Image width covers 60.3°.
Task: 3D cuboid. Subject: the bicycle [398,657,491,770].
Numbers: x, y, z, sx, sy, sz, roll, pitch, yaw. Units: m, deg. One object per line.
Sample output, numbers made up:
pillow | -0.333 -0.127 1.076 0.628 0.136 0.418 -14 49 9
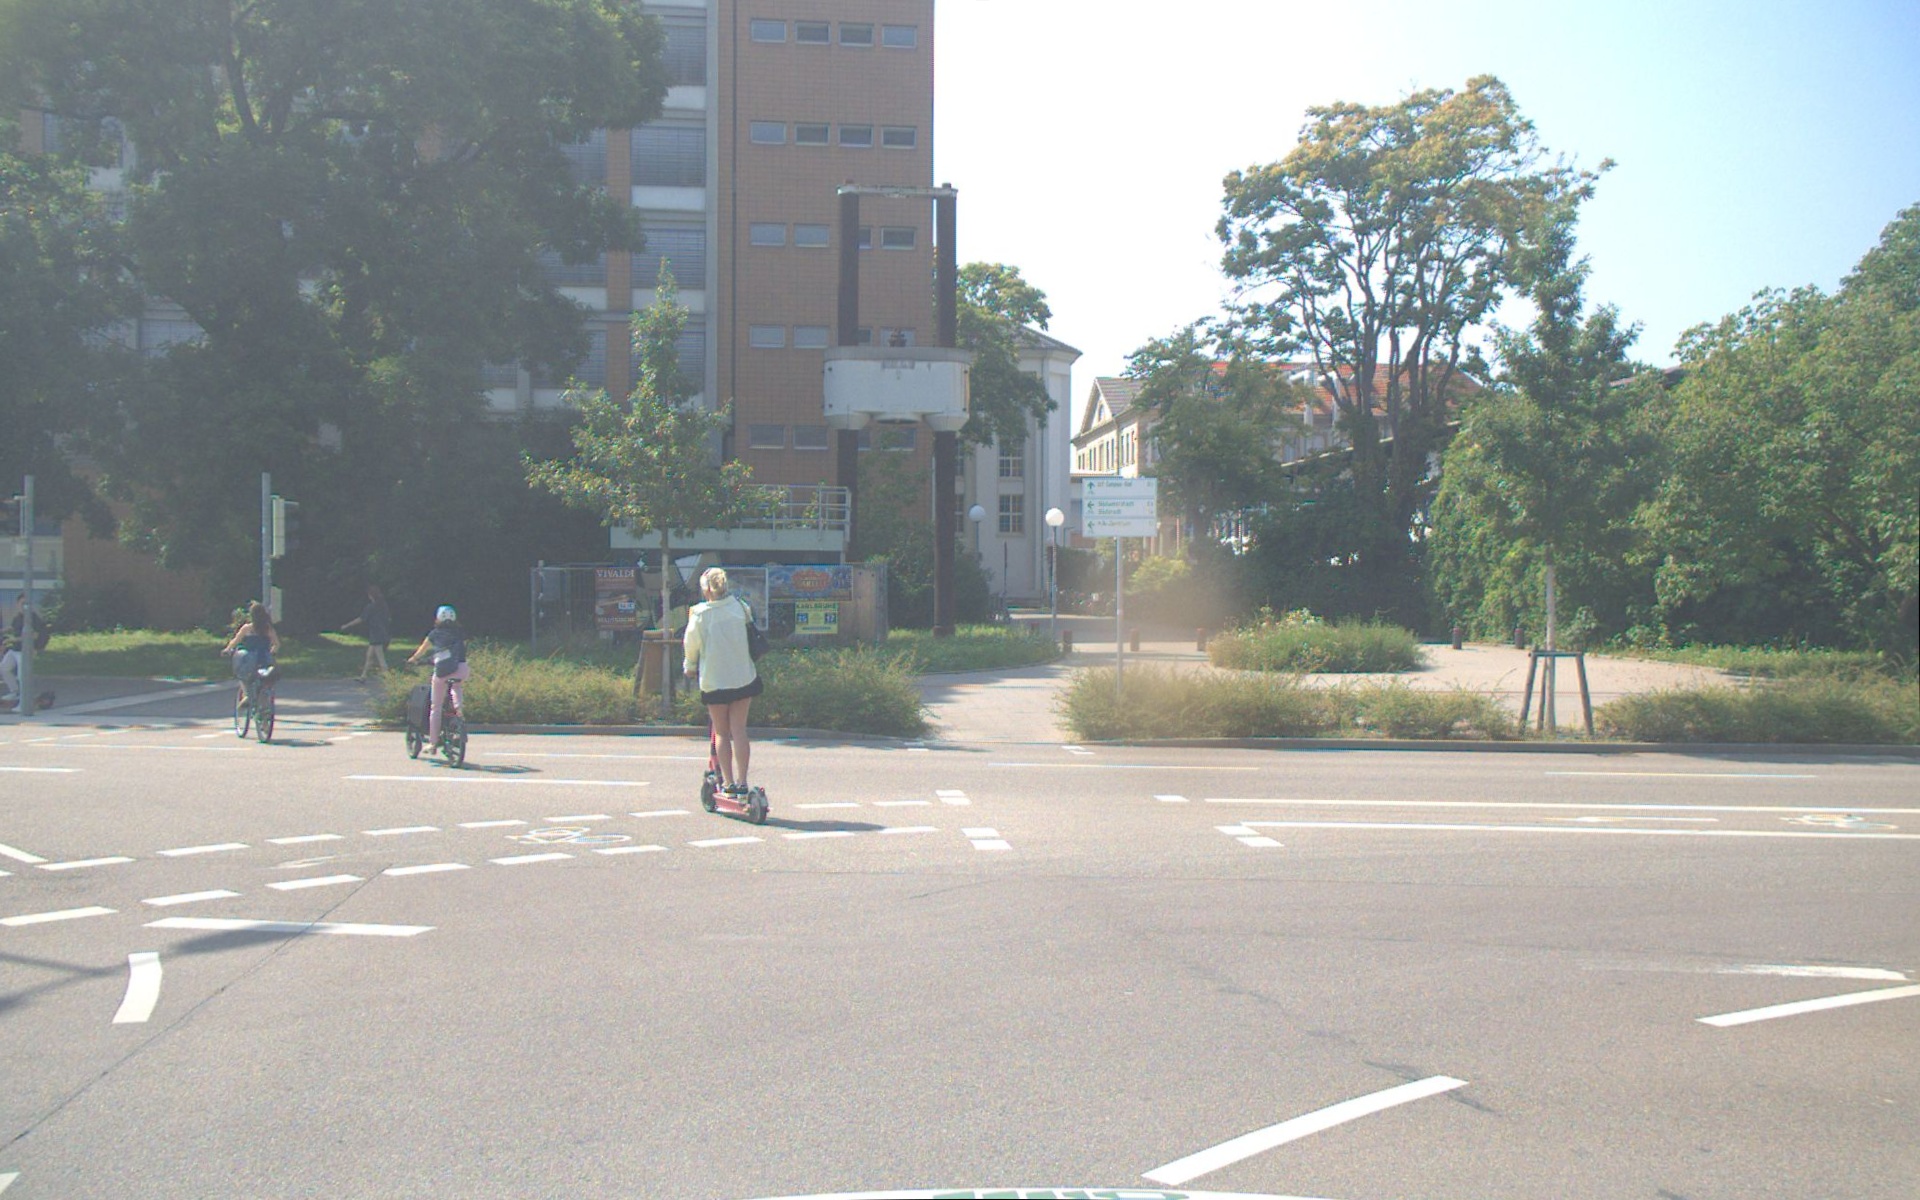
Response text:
bicycle | -5.516 1.176 17.626 0.550 1.078 1.984 1 -1 -29

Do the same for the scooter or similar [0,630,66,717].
scooter or similar | -14.409 1.114 25.096 0.573 1.256 1.363 0 1 35

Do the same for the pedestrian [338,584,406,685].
pedestrian | -10.331 0.590 29.065 0.857 1.734 0.708 0 2 12

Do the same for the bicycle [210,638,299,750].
bicycle | -8.820 1.129 20.626 0.687 1.175 2.346 -2 2 -31

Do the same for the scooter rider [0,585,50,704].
scooter rider | -14.377 0.656 25.052 0.675 1.769 0.802 0 1 35

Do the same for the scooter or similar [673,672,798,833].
scooter or similar | -1.760 1.122 12.712 0.548 1.078 1.992 0 -1 -20

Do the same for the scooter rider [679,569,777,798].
scooter rider | -1.803 0.634 12.834 0.660 1.729 0.536 0 -1 -20

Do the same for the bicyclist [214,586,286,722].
bicyclist | -8.898 0.655 20.725 0.683 1.626 0.835 -2 3 -31

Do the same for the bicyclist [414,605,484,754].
bicyclist | -5.382 0.815 17.393 0.543 1.522 0.795 0 0 -30
